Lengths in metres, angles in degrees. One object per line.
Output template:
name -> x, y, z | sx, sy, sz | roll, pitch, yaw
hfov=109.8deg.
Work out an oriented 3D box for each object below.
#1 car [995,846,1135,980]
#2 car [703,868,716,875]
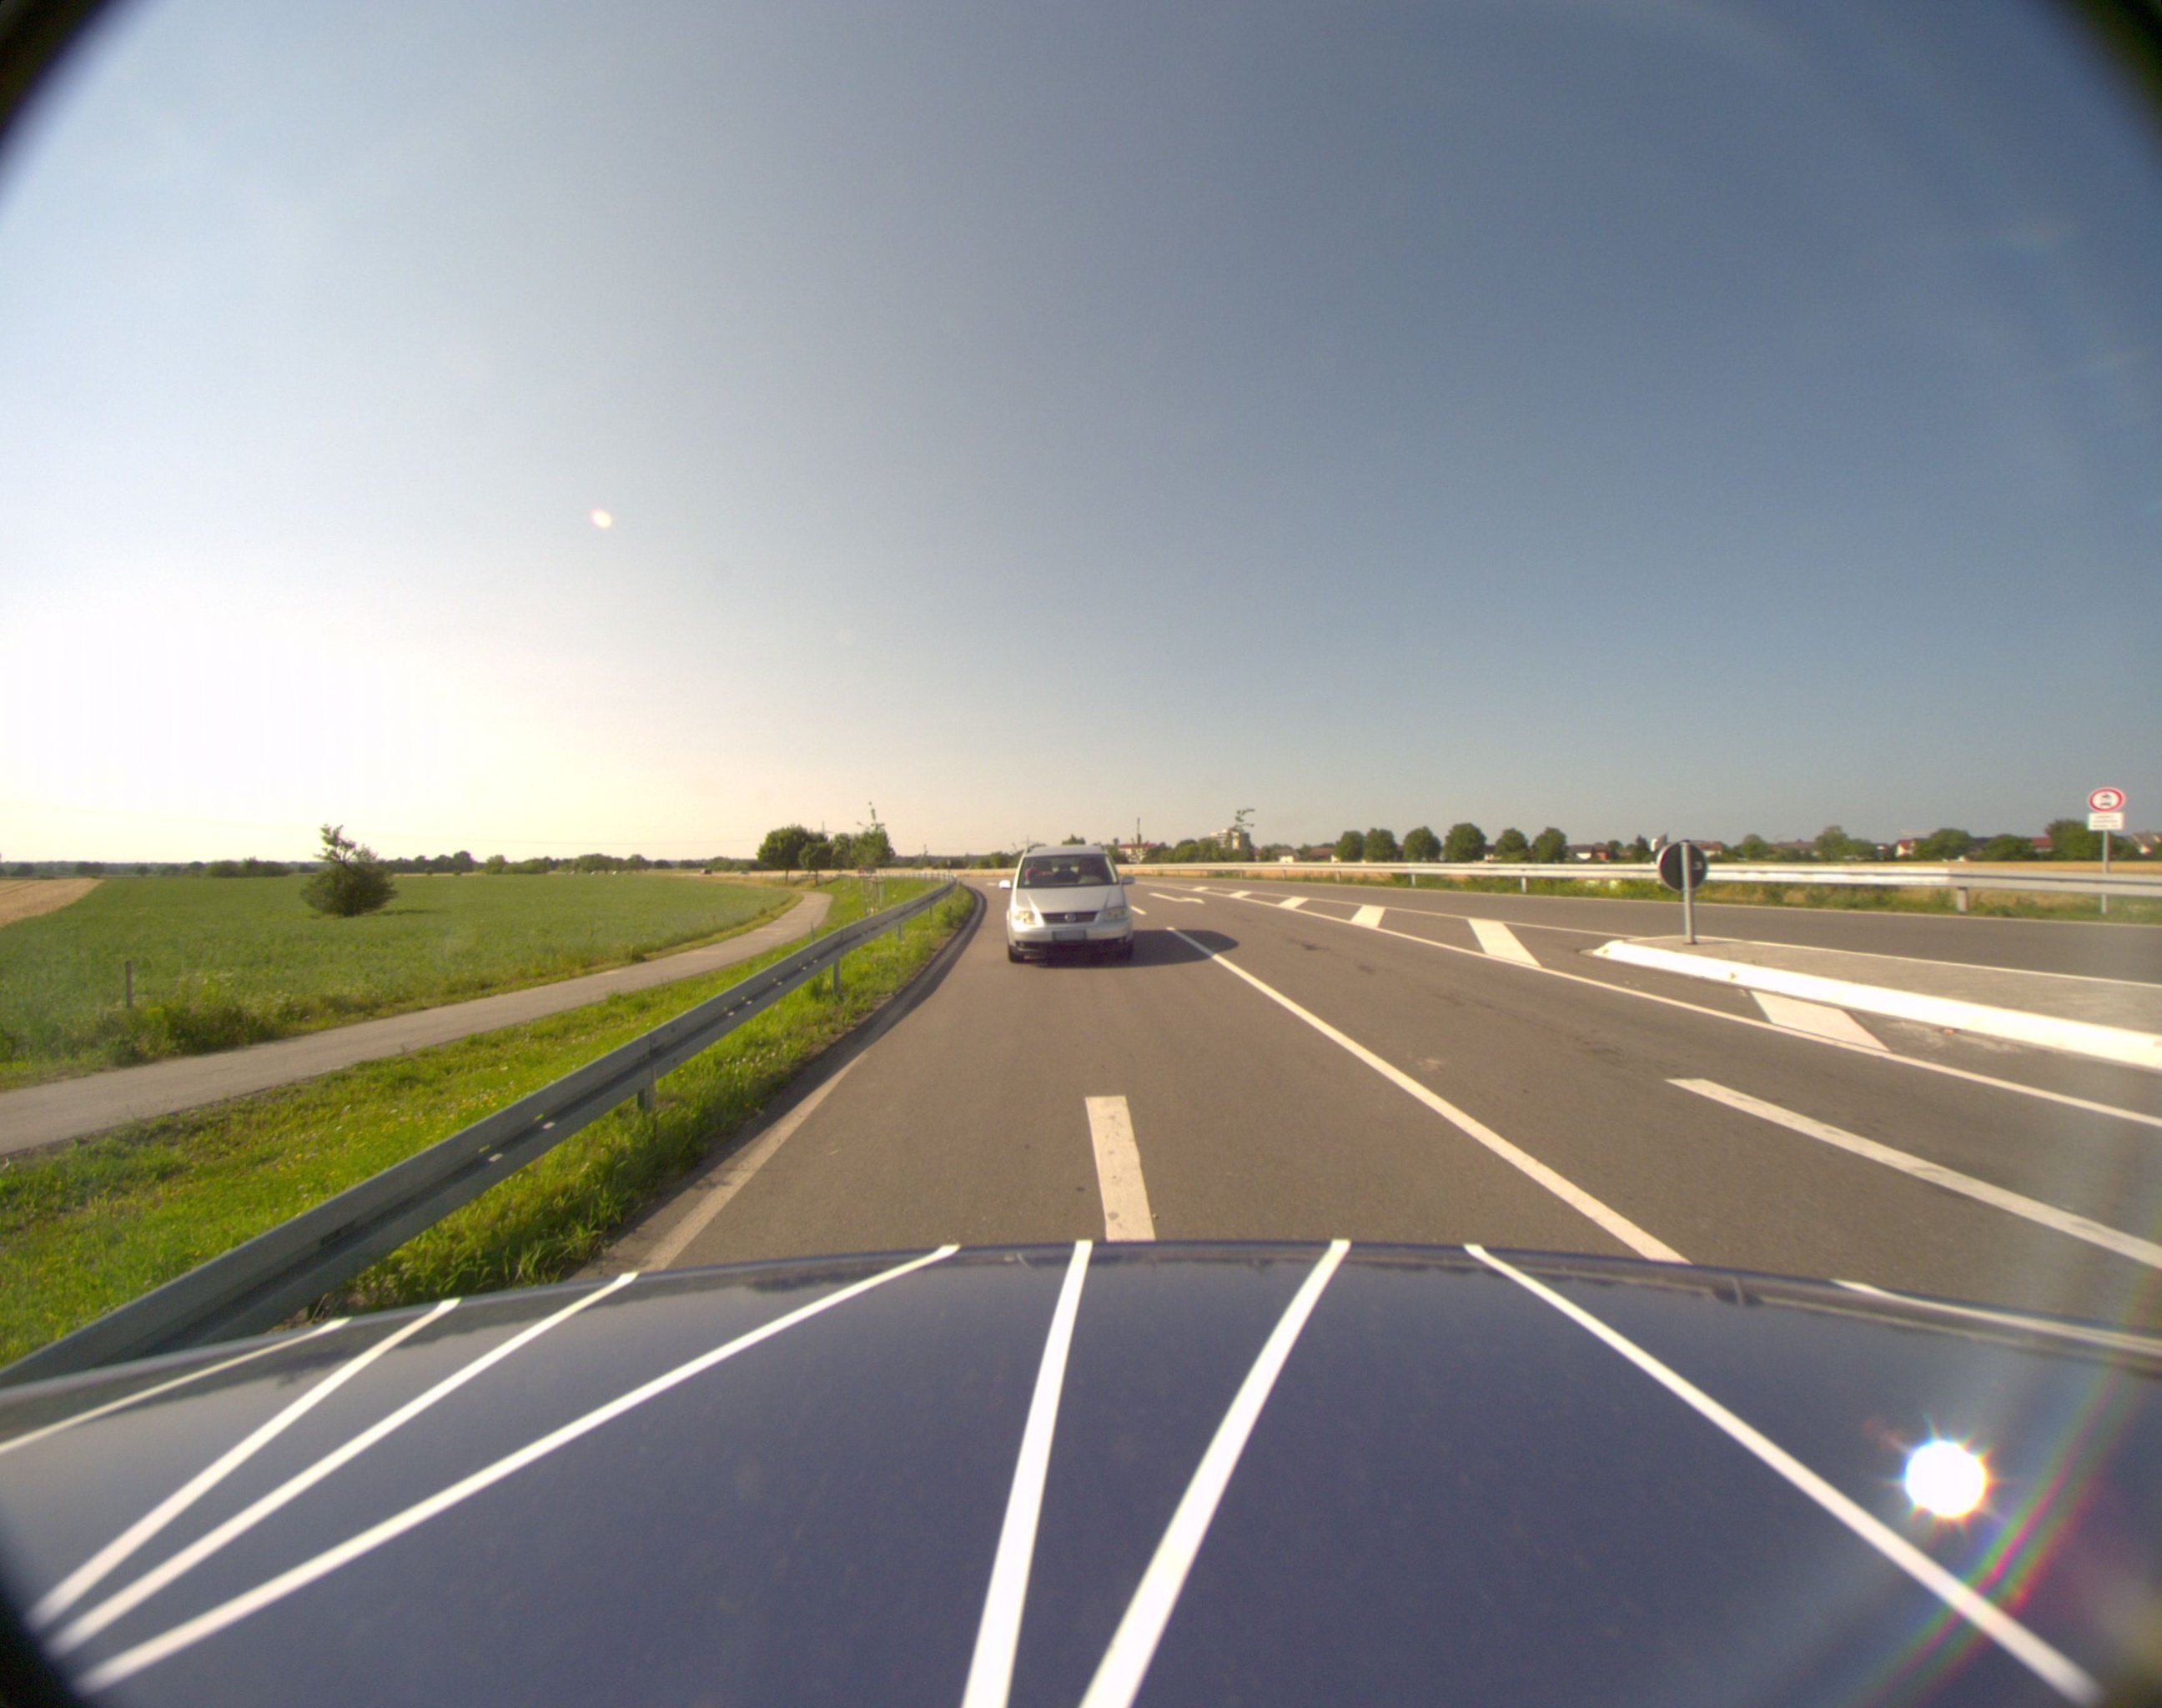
car -> -0.239, 0.750, 11.968 | 1.755, 1.685, 4.214 | -2, 1, -1
car -> -94.110, 4.396, 192.608 | 1.818, 1.663, 3.989 | -3, 1, -44
